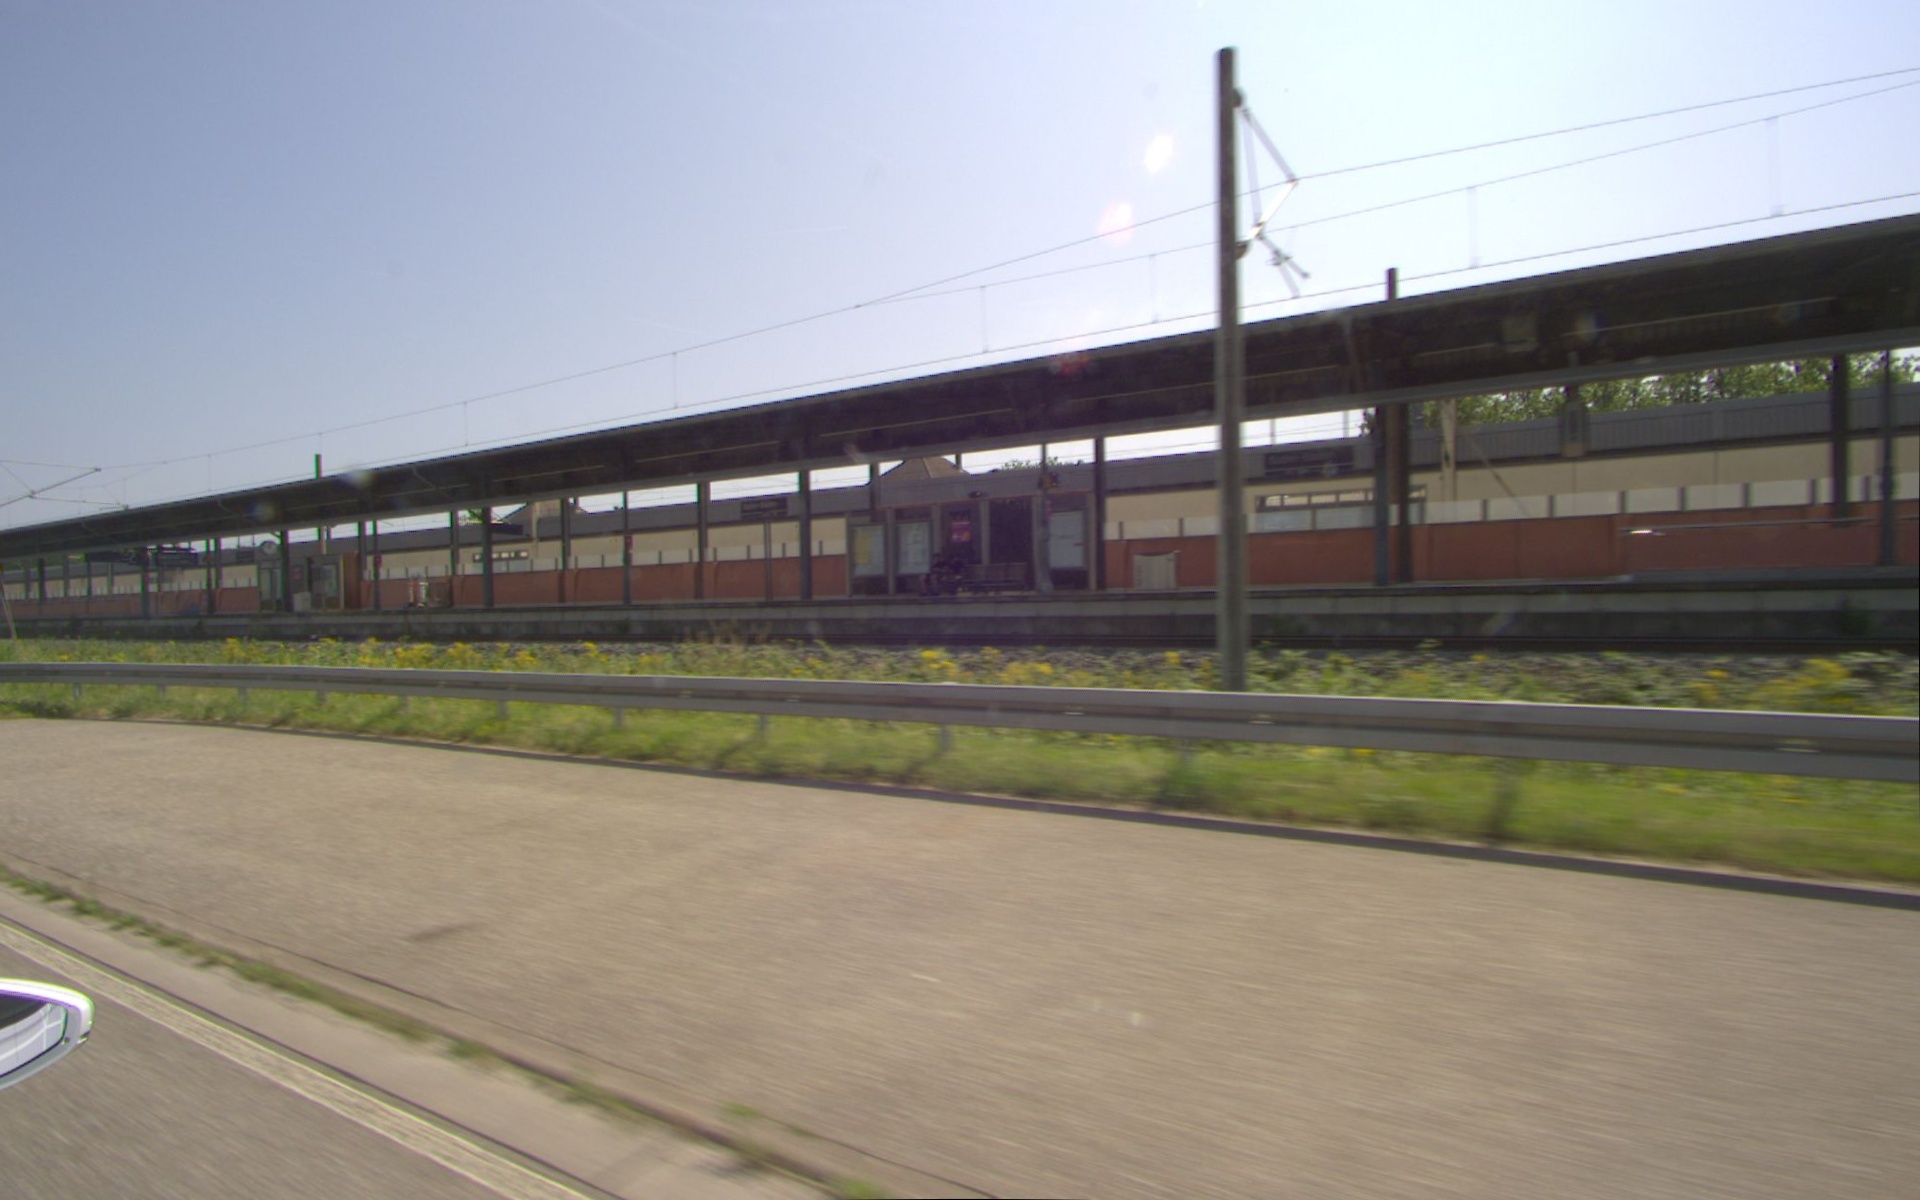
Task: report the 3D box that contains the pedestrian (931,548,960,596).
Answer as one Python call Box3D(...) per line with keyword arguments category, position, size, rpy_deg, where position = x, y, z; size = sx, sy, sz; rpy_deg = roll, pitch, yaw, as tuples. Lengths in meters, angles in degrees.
Box3D(category="pedestrian", position=(-0.385, -0.723, 26.617), size=(0.523, 1.230, 0.675), rpy_deg=(0, -1, 30))

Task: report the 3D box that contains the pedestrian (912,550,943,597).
Box3D(category="pedestrian", position=(-0.869, -0.704, 26.928), size=(0.582, 1.209, 0.694), rpy_deg=(0, -1, 30))
